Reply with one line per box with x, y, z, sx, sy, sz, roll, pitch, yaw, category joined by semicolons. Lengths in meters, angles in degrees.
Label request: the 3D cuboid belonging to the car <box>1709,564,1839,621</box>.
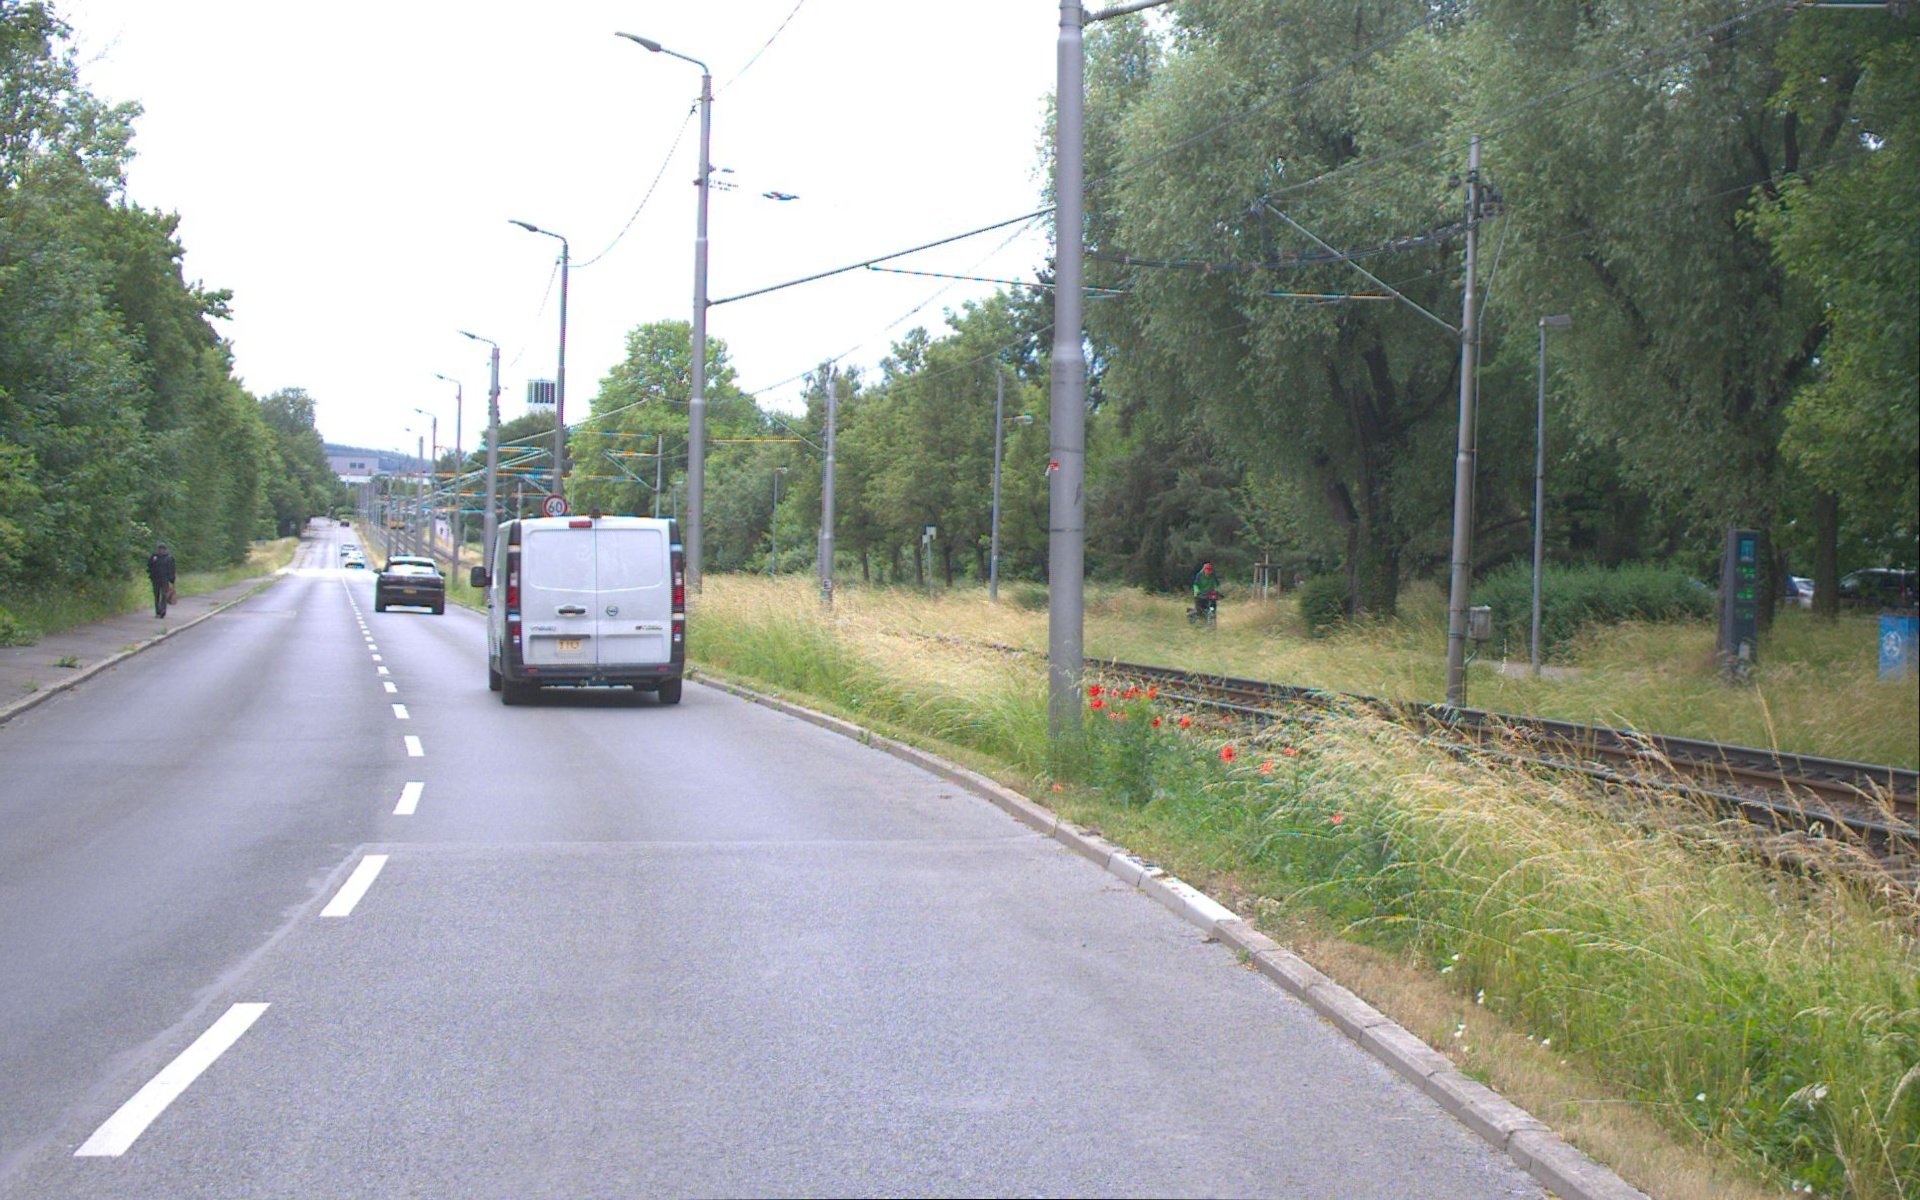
28.195;-0.269;119.176;1.994;1.806;4.000;1;1;-35;car

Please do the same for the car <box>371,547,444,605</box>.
-15.961;-0.697;99.212;1.993;1.587;4.001;0;1;-10;car

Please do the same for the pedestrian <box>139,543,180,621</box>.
-18.255;-0.414;78.428;0.867;1.763;0.790;-1;2;-14;pedestrian

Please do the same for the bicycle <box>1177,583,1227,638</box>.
5.725;0.247;81.450;0.580;1.242;1.930;1;1;-14;bicycle

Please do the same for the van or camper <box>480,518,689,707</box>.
-4.064;0.110;36.664;1.941;1.890;4.286;0;0;-10;van or camper

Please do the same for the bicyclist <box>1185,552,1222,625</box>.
5.755;-0.271;81.326;0.580;1.690;0.936;2;0;-14;bicyclist
